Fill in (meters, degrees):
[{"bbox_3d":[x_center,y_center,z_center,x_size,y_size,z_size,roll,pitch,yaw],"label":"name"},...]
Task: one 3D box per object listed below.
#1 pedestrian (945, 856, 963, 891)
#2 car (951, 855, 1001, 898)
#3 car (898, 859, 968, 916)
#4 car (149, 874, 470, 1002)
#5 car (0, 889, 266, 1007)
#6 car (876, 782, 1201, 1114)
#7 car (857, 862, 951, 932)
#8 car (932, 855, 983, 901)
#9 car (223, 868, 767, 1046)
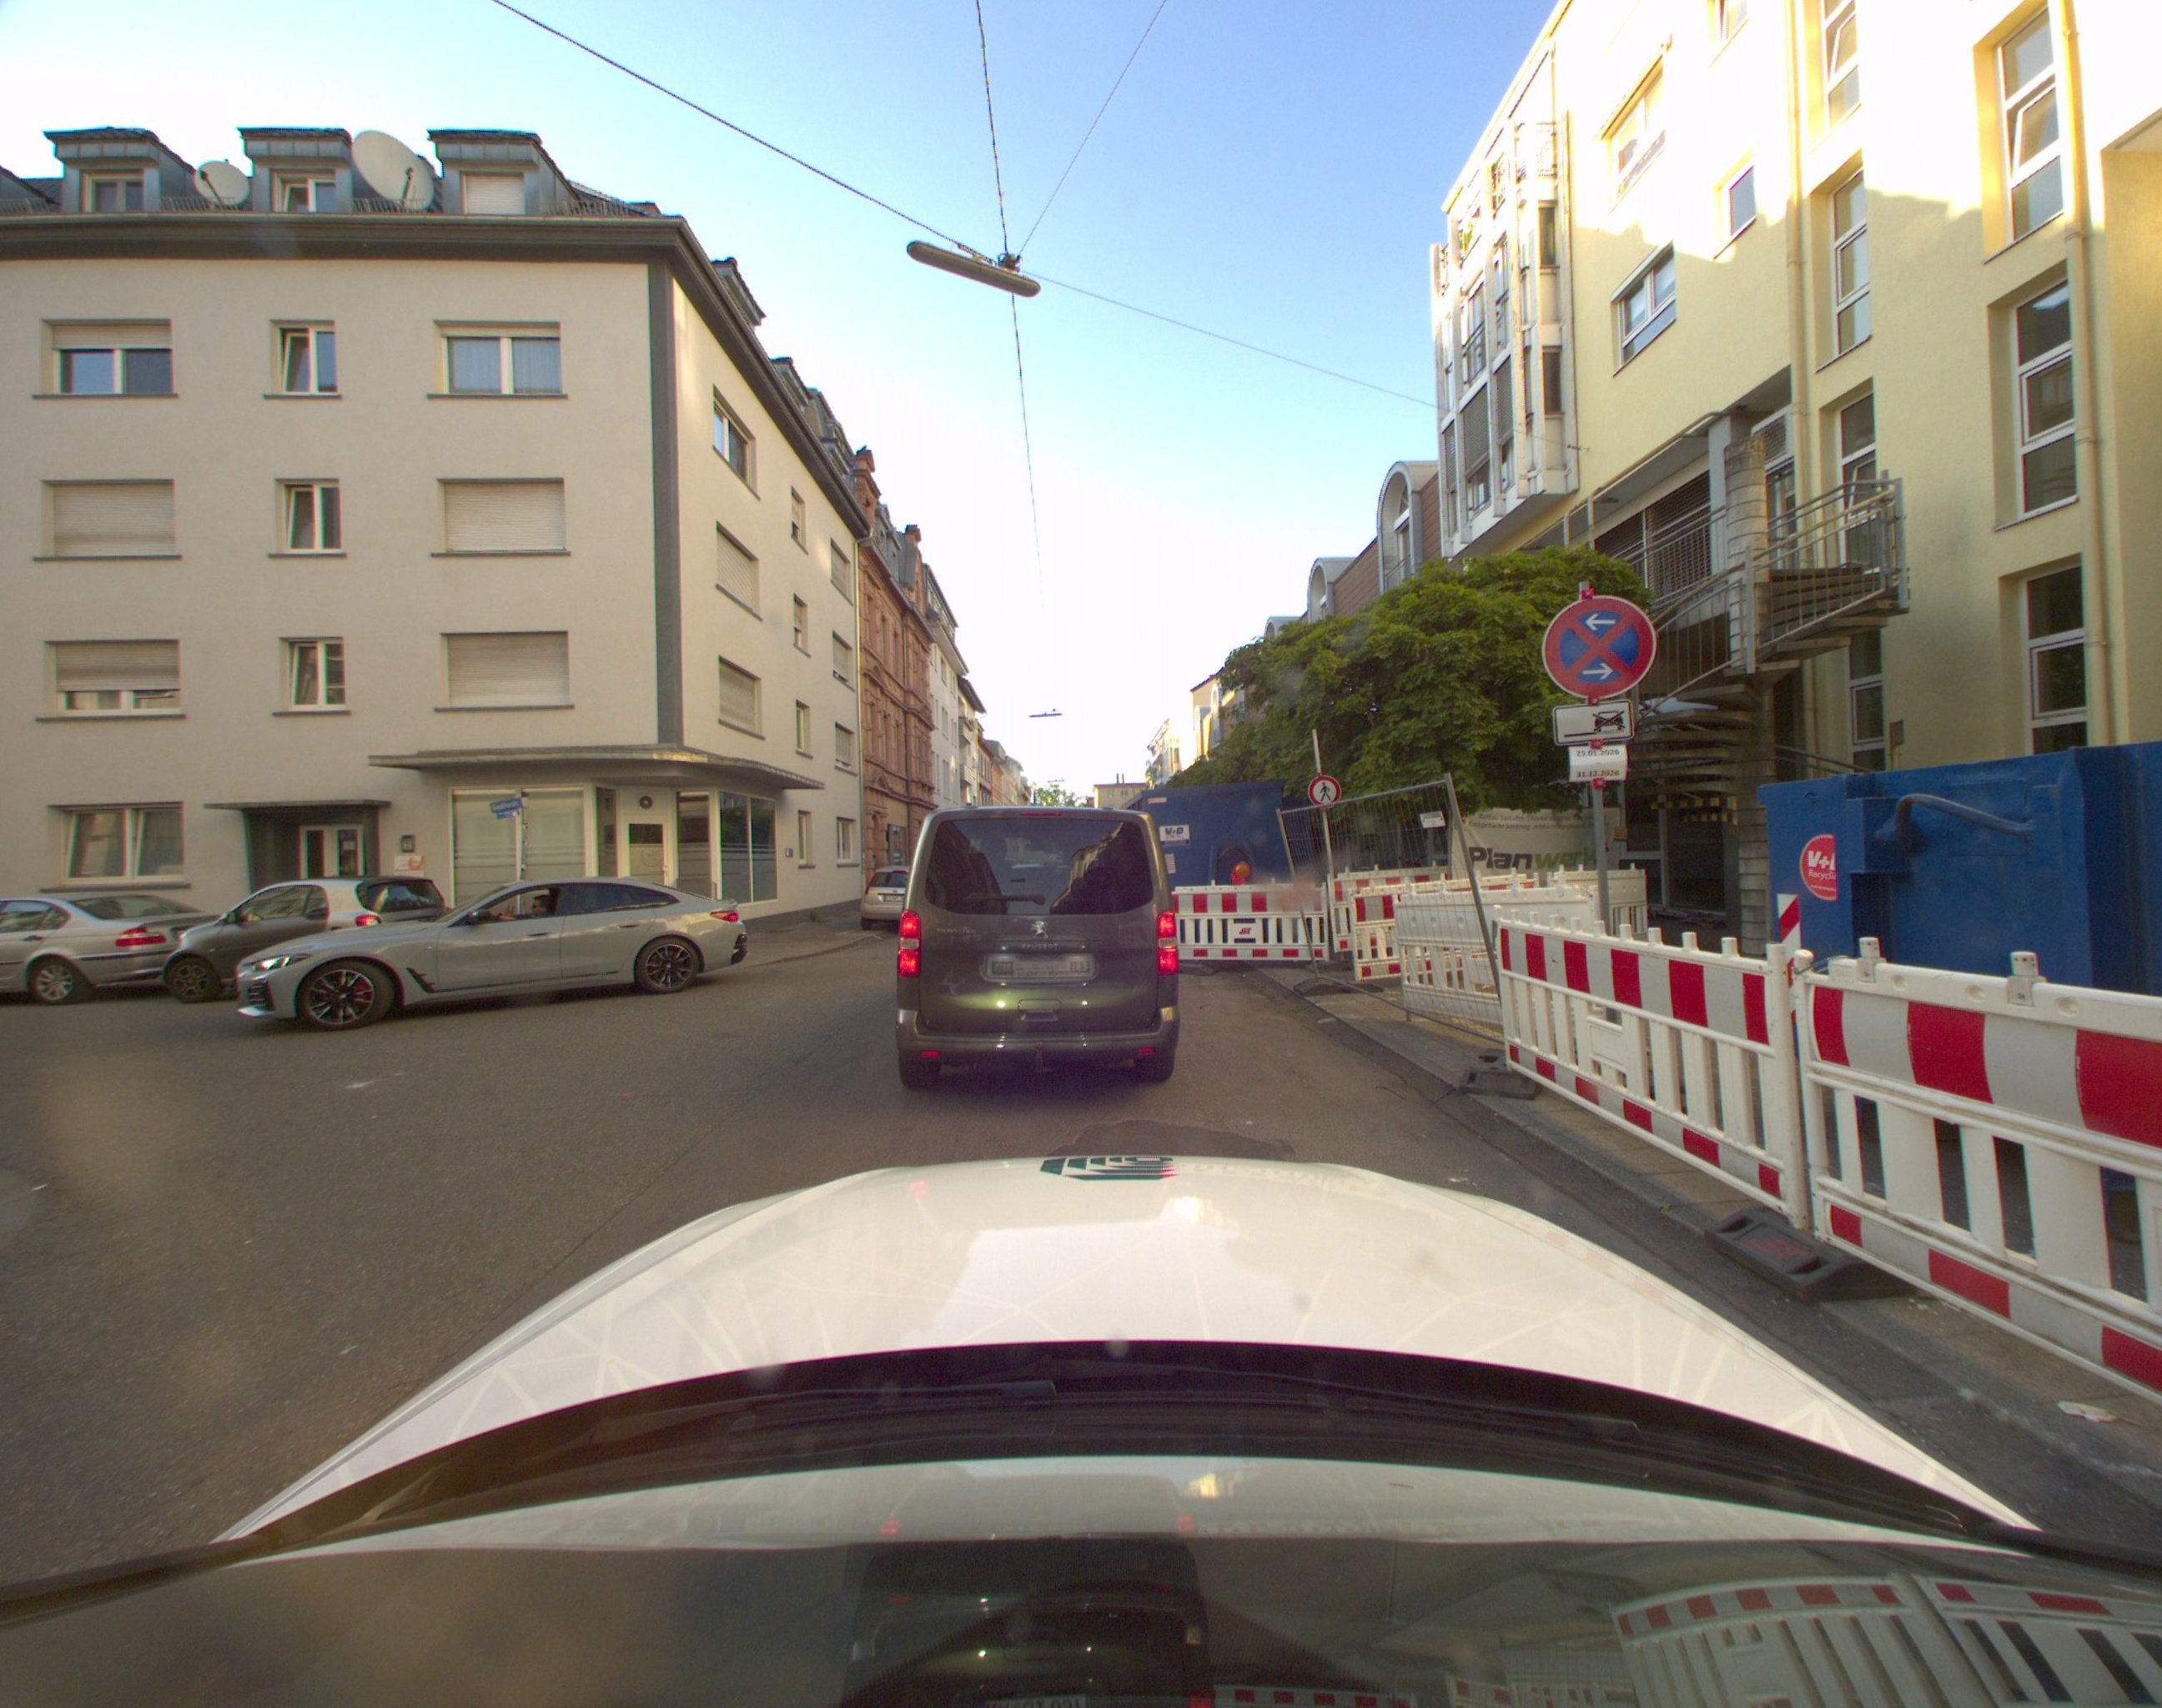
[{"bbox_3d":[-6.068,0.921,38.956,0.739,1.664,0.702,-2,0,-5],"label":"pedestrian"},{"bbox_3d":[-4.540,0.959,35.619,1.888,1.720,3.748,3,-1,-4],"label":"car"},{"bbox_3d":[-4.451,0.979,24.880,1.653,1.525,3.412,3,-1,-4],"label":"car"},{"bbox_3d":[-10.287,1.076,11.030,2.778,1.540,1.593,0,0,-1],"label":"car"},{"bbox_3d":[-14.207,1.263,11.217,4.193,1.403,1.602,-1,0,-2],"label":"car"},{"bbox_3d":[-0.384,0.560,6.866,1.862,1.886,4.228,-1,-1,-4],"label":"car"},{"bbox_3d":[-4.150,0.976,19.561,1.653,1.460,3.412,3,-1,-4],"label":"car"},{"bbox_3d":[-4.799,0.919,31.978,1.663,1.666,3.087,3,-1,-4],"label":"car"},{"bbox_3d":[-6.527,0.985,9.693,4.835,1.451,1.911,-2,0,-39],"label":"car"}]
